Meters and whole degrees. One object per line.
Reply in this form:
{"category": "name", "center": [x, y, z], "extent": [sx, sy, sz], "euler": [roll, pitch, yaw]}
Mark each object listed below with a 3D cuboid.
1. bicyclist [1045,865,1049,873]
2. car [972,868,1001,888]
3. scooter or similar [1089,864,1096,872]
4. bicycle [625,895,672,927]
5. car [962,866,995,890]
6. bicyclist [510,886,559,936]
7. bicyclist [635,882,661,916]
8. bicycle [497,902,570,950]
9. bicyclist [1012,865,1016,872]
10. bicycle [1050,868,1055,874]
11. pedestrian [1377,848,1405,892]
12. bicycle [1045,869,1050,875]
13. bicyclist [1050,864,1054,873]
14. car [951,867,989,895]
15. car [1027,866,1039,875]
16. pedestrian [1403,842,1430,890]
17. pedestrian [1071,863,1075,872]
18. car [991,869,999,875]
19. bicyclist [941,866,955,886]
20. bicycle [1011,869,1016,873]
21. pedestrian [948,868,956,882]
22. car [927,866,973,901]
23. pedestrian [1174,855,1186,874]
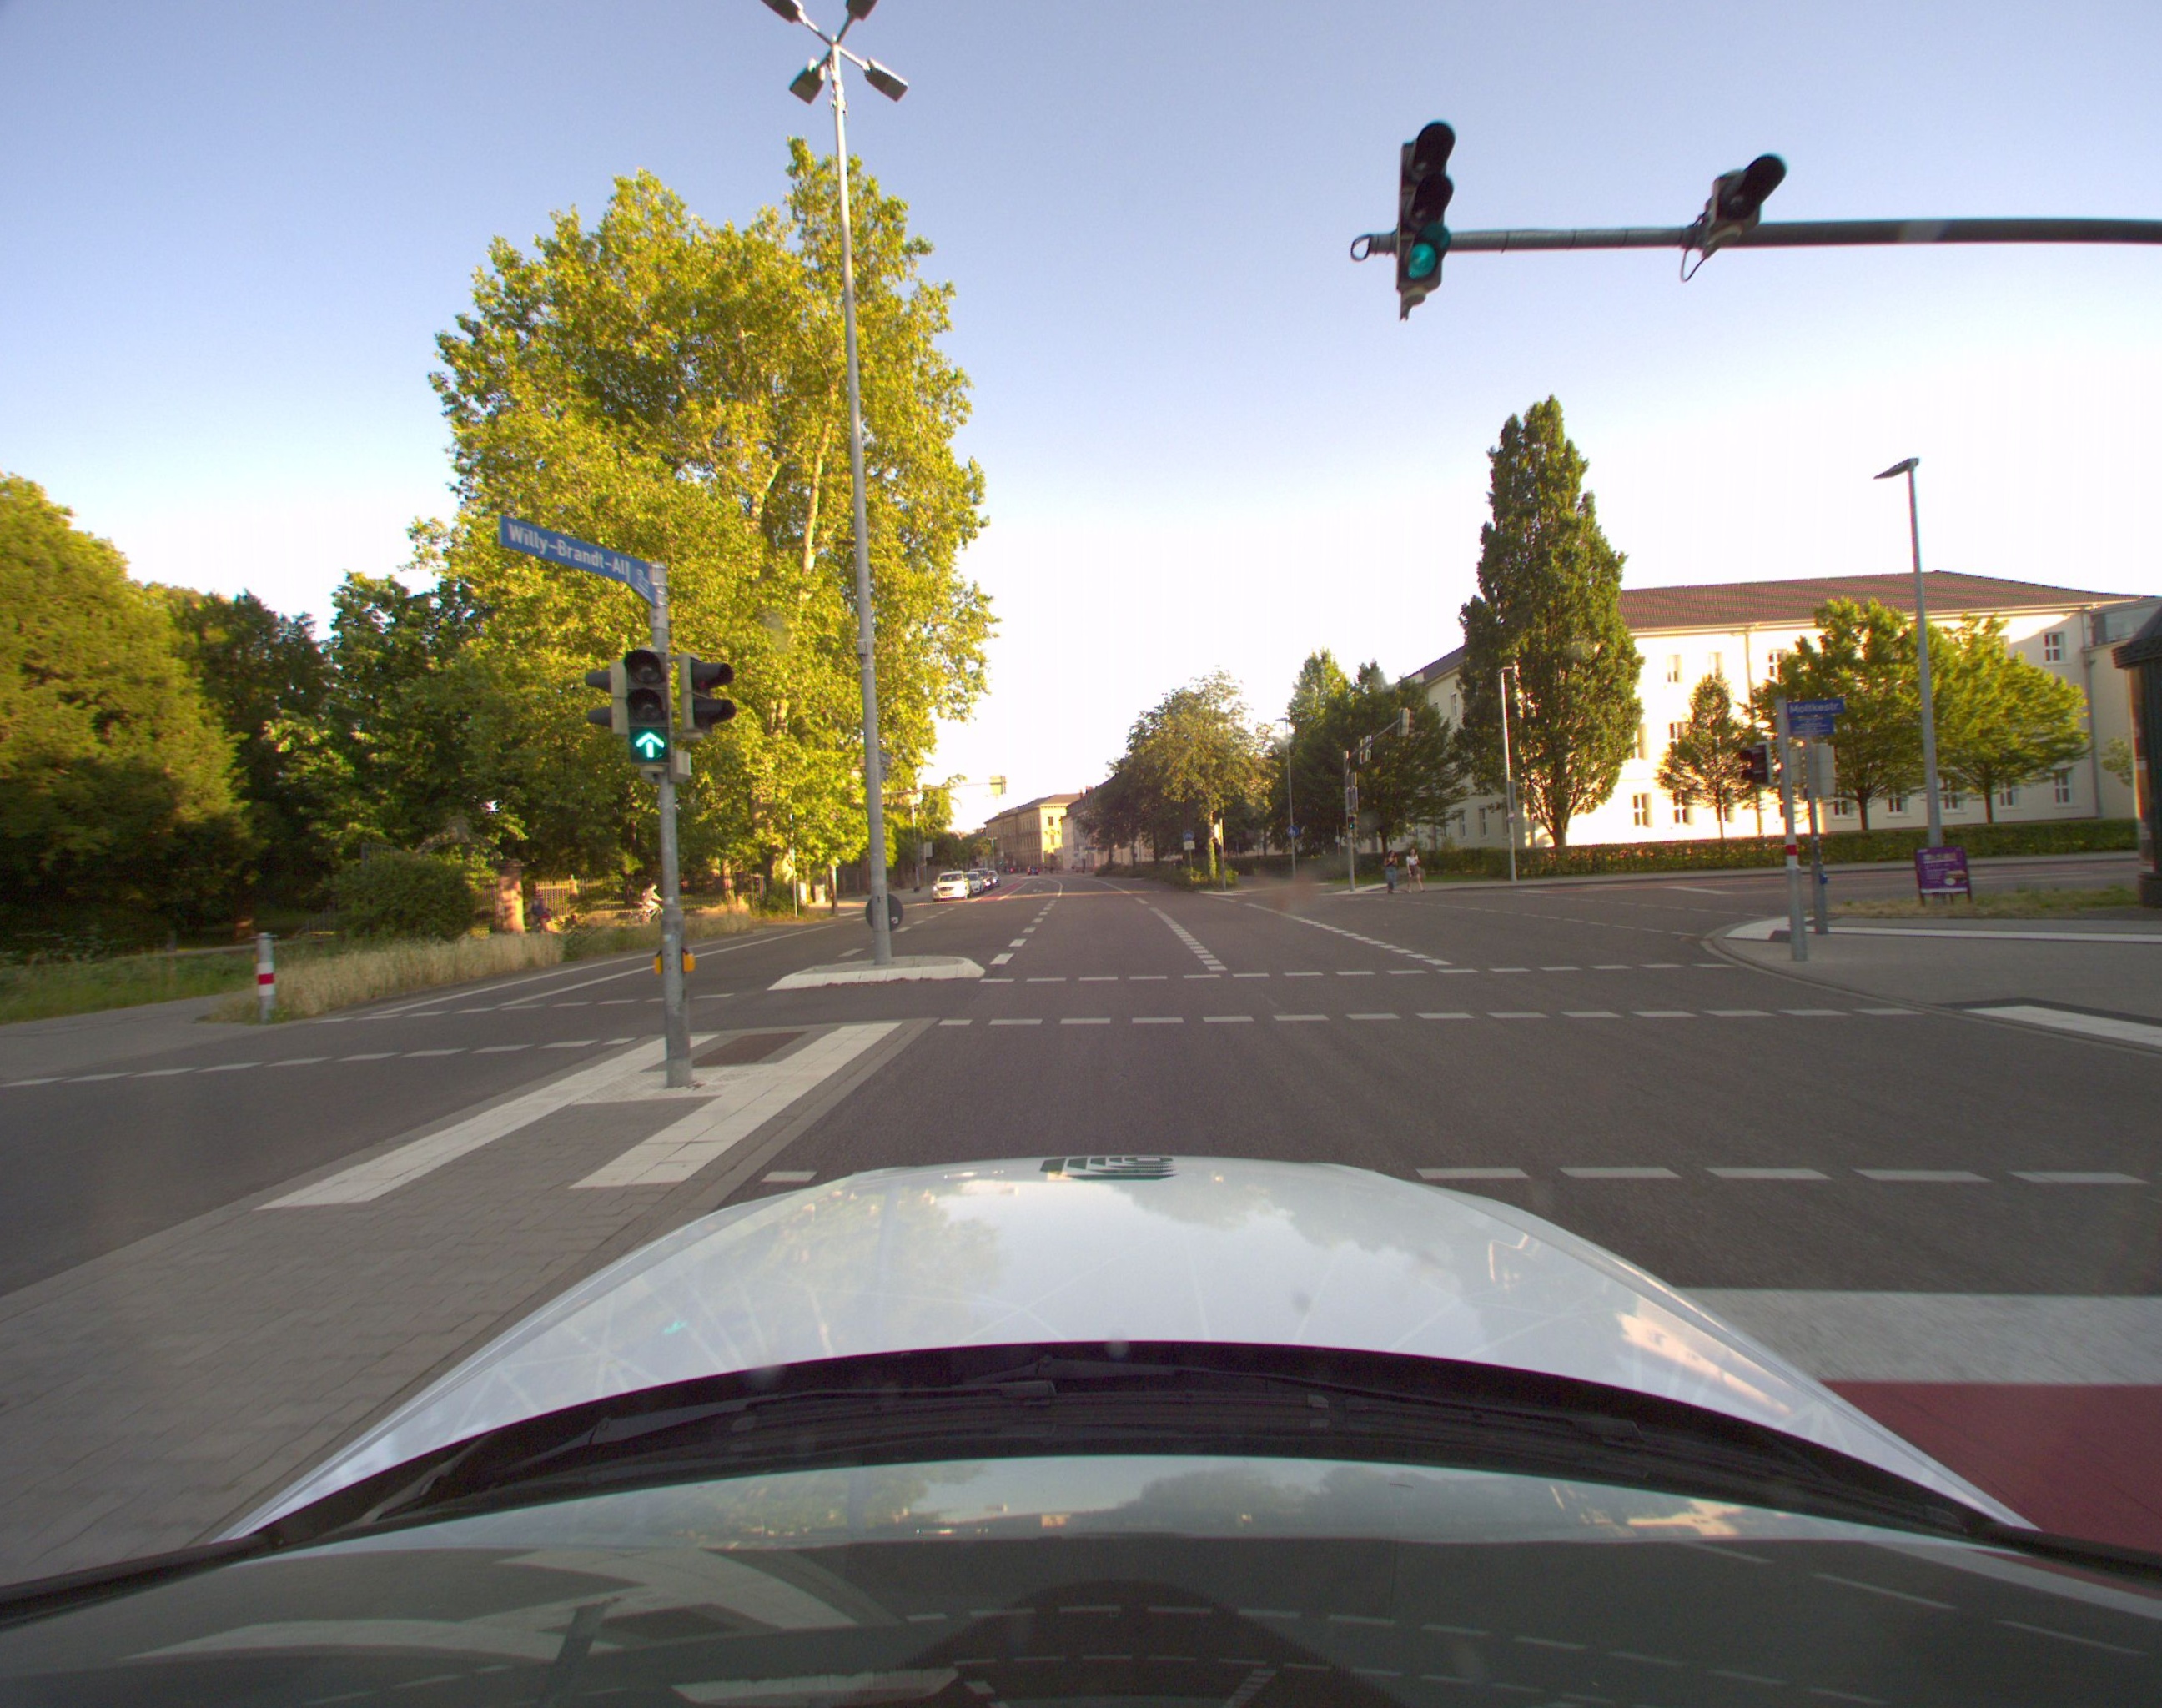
{"category": "bicyclist", "center": [-5.938, 2.628, 143.501], "extent": [0.651, 1.446, 0.877], "euler": [-1, -1, -6]}
{"category": "car", "center": [-7.884, 1.970, 68.132], "extent": [1.912, 1.418, 4.765], "euler": [-5, -1, -2]}
{"category": "scooter or similar", "center": [1.959, 2.483, 141.447], "extent": [0.630, 1.337, 2.390], "euler": [-2, -1, -12]}
{"category": "bicycle", "center": [-18.241, 2.390, 34.353], "extent": [1.639, 1.229, 0.567], "euler": [-3, -1, -34]}
{"category": "car", "center": [-7.722, 1.773, 61.689], "extent": [1.912, 1.624, 4.634], "euler": [-5, -1, -2]}
{"category": "bicyclist", "center": [-16.555, 1.726, 24.686], "extent": [0.786, 1.427, 0.892], "euler": [-3, -1, 1]}
{"category": "bicyclist", "center": [-18.278, 1.895, 34.382], "extent": [0.843, 1.361, 0.567], "euler": [-2, -1, -34]}
{"category": "bicycle", "center": [-16.536, 2.147, 24.656], "extent": [0.786, 1.256, 1.980], "euler": [-3, -1, 1]}
{"category": "bicyclist", "center": [-17.066, 3.690, 206.898], "extent": [0.654, 1.698, 0.951], "euler": [0, -1, -19]}
{"category": "bicycle", "center": [-5.052, 3.010, 143.710], "extent": [0.651, 1.015, 2.194], "euler": [-1, -1, -5]}
{"category": "pedestrian", "center": [11.870, 0.598, 31.211], "extent": [0.678, 1.622, 0.845], "euler": [-3, 0, 1]}
{"category": "bicycle", "center": [-5.946, 3.152, 143.666], "extent": [0.651, 1.015, 2.193], "euler": [-1, -1, -5]}
{"category": "bicyclist", "center": [-5.067, 2.546, 143.722], "extent": [0.651, 1.475, 0.939], "euler": [-1, -1, -5]}
{"category": "car", "center": [-7.219, 1.721, 53.271], "extent": [1.912, 1.583, 4.669], "euler": [-5, -1, -2]}
{"category": "car", "center": [-7.987, 2.761, 135.379], "extent": [1.864, 1.510, 3.993], "euler": [-2, -1, -5]}
{"category": "pedestrian", "center": [12.632, 0.455, 30.680], "extent": [0.678, 1.754, 0.689], "euler": [-3, 0, 1]}
{"category": "pedestrian", "center": [-1.533, 2.680, 162.495], "extent": [0.760, 1.755, 0.844], "euler": [-3, -1, -1]}
{"category": "car", "center": [-23.075, 4.760, 217.508], "extent": [1.915, 1.418, 4.756], "euler": [-5, -1, -8]}
{"category": "bicyclist", "center": [-10.103, 1.669, 61.920], "extent": [0.852, 1.431, 0.944], "euler": [-3, -1, 2]}
{"category": "bicycle", "center": [-17.088, 4.376, 206.958], "extent": [0.654, 1.015, 2.184], "euler": [0, -1, -18]}
{"category": "pedestrian", "center": [-14.708, 2.400, 92.835], "extent": [0.678, 1.622, 0.689], "euler": [-3, -1, 1]}
{"category": "car", "center": [-7.419, 1.638, 46.530], "extent": [1.912, 1.695, 4.422], "euler": [-5, -1, -2]}
{"category": "pedestrian", "center": [9.186, 1.005, 75.635], "extent": [0.769, 1.739, 0.805], "euler": [-3, -1, -8]}
